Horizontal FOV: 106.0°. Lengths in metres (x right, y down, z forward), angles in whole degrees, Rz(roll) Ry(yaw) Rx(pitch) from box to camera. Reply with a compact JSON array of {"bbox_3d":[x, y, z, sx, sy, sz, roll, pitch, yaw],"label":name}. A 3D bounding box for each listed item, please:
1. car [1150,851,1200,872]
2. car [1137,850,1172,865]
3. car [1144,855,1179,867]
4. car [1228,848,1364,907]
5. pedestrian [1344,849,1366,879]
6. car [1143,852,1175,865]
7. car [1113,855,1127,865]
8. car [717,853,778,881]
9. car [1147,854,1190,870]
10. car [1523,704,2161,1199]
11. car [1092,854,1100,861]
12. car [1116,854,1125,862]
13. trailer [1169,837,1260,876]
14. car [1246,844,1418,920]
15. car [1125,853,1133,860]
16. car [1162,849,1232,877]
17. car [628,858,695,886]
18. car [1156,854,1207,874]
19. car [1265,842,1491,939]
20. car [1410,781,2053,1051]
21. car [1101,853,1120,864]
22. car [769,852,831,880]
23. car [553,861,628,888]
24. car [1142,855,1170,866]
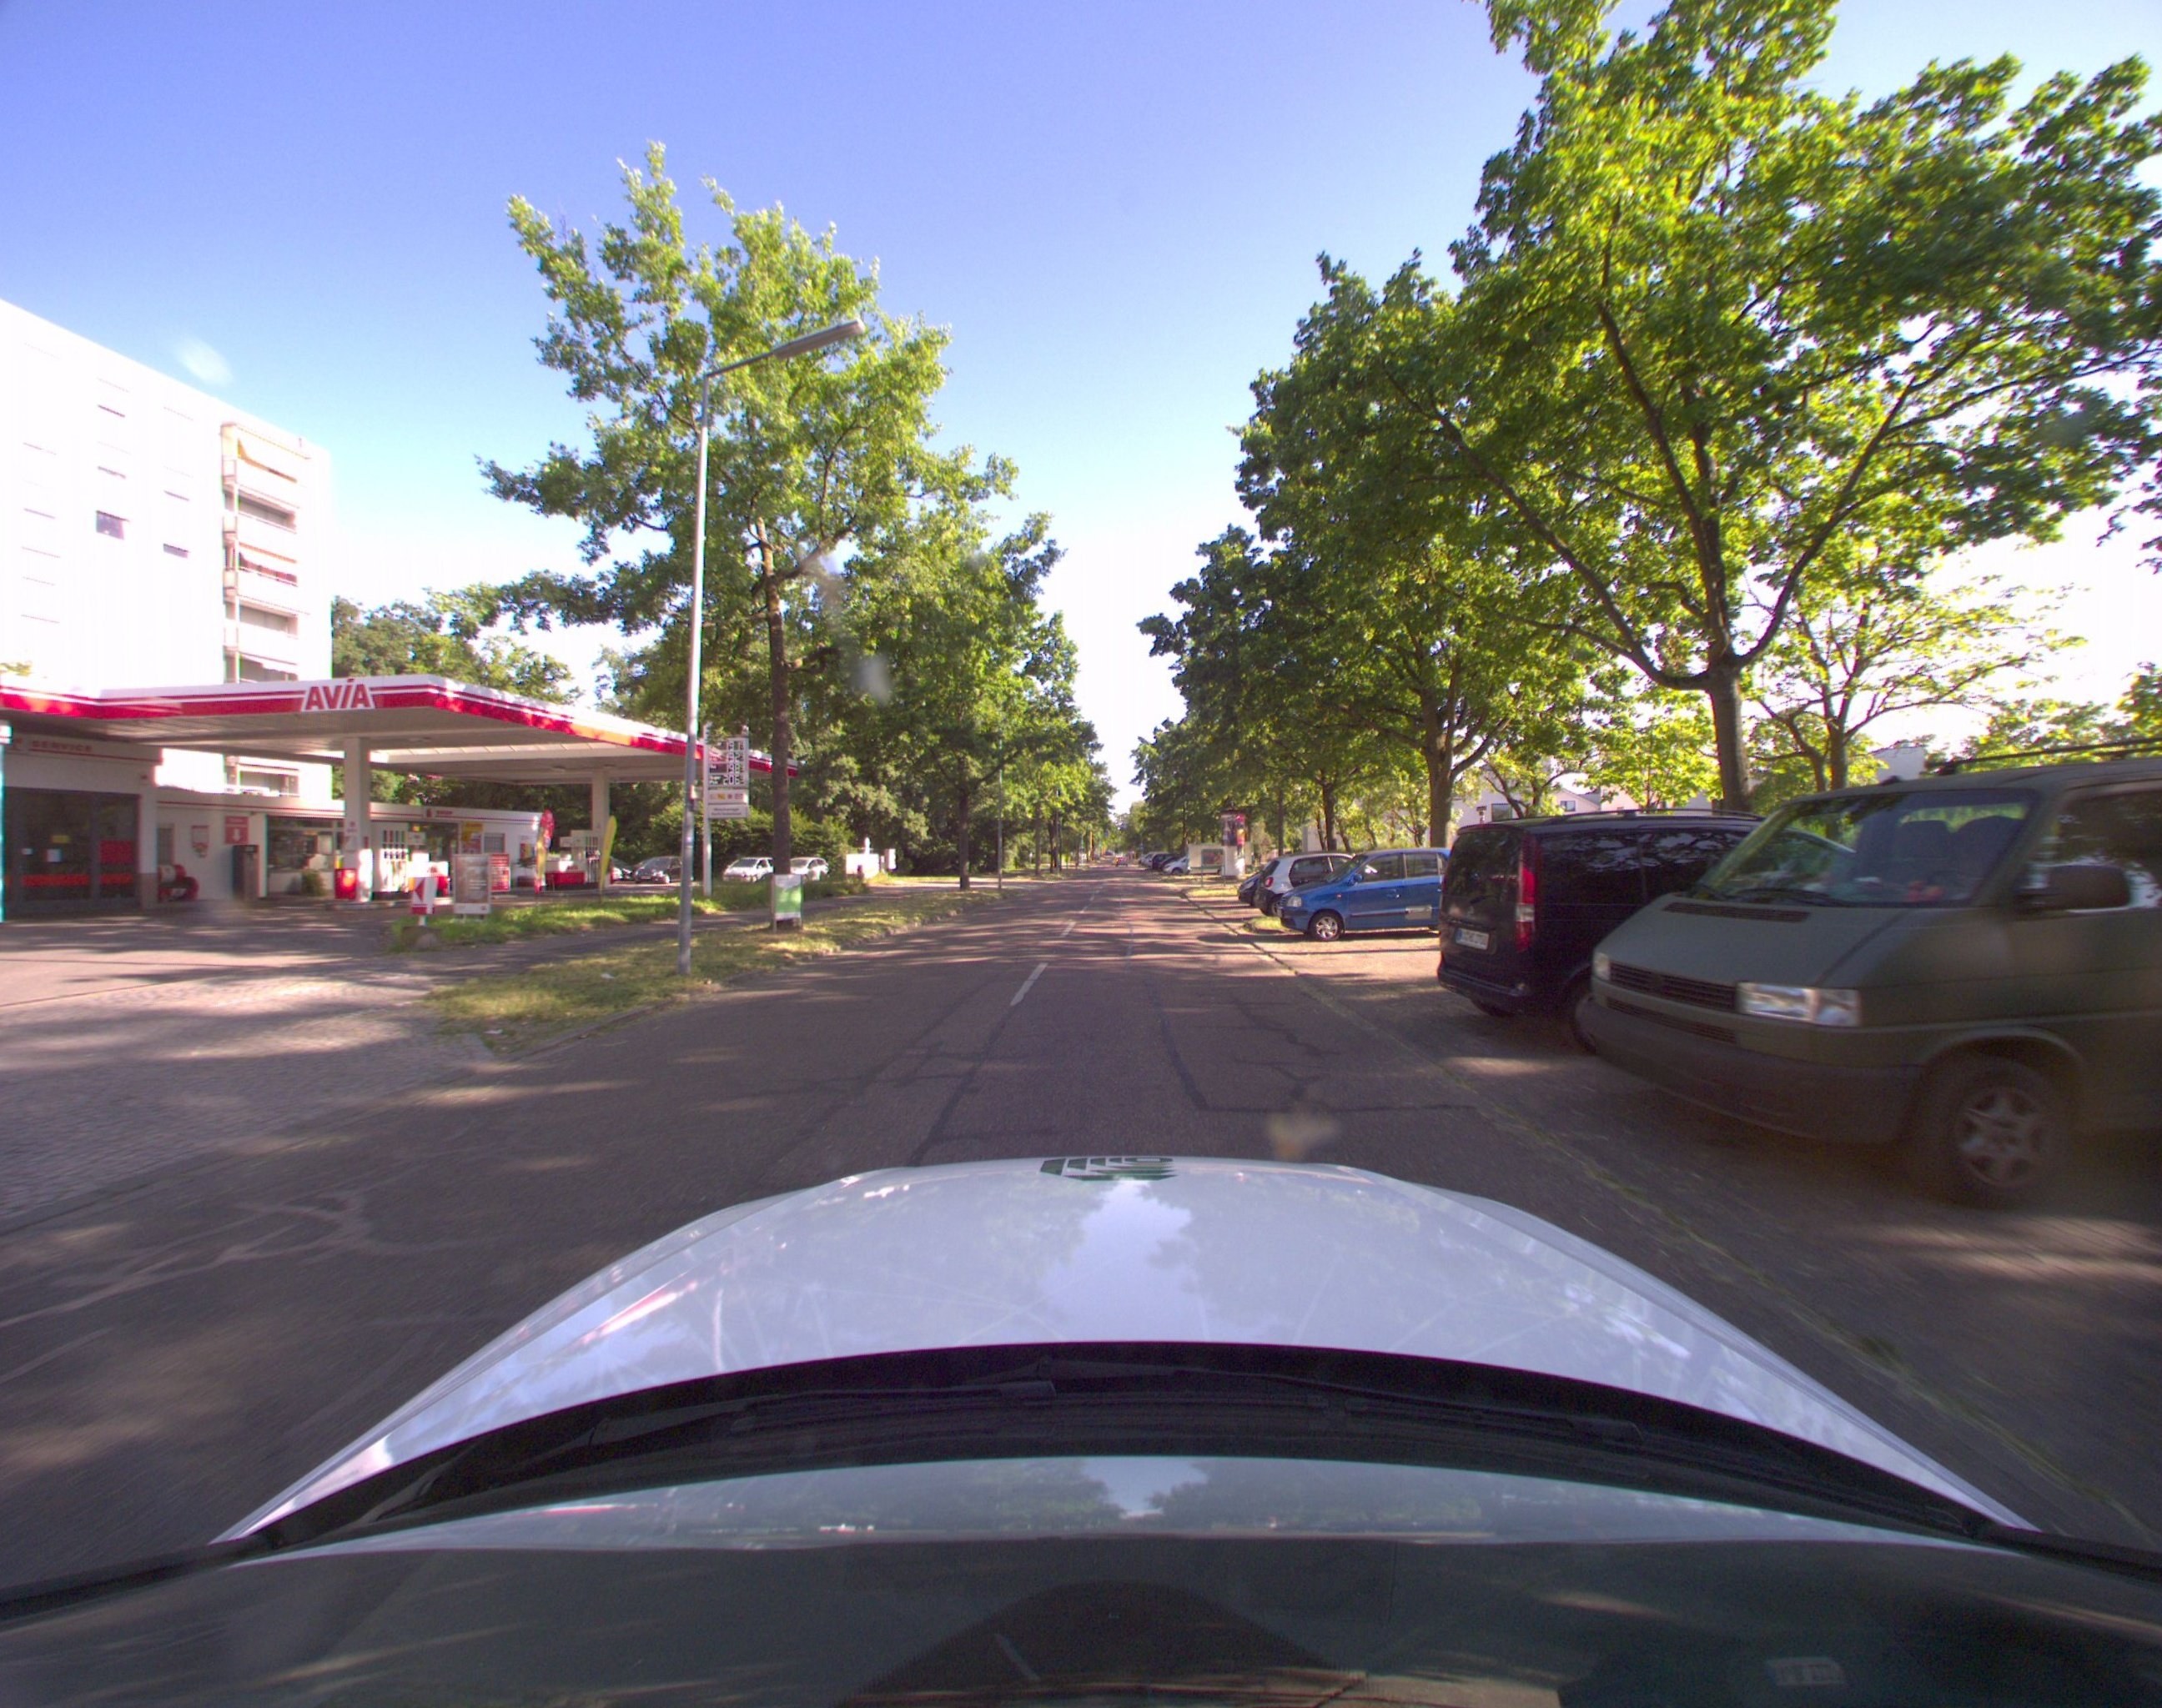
[{"bbox_3d":[8.763,0.715,76.365,4.511,1.801,1.937,-2,0,2],"label":"car"},{"bbox_3d":[11.171,0.524,123.743,5.169,2.105,2.083,-1,-1,1],"label":"car"},{"bbox_3d":[10.407,0.926,105.828,4.427,1.390,1.912,-2,0,2],"label":"car"},{"bbox_3d":[6.347,0.680,24.387,3.570,1.576,1.858,-2,-1,1],"label":"car"},{"bbox_3d":[14.308,0.529,42.466,0.874,1.500,0.949,-2,0,30],"label":"pedestrian"},{"bbox_3d":[10.840,0.656,113.429,4.369,1.651,1.851,-2,0,0],"label":"car"},{"bbox_3d":[5.794,0.874,121.055,1.986,1.484,4.001,-1,0,1],"label":"car"},{"bbox_3d":[-17.341,0.649,42.484,1.413,1.367,3.214,1,0,11],"label":"car"},{"bbox_3d":[9.720,0.854,90.671,4.651,1.580,1.918,-2,0,3],"label":"car"},{"bbox_3d":[5.306,0.369,4.351,4.785,2.032,1.945,-2,0,2],"label":"car"},{"bbox_3d":[3.758,0.880,207.005,1.986,1.716,4.002,0,0,2],"label":"car"},{"bbox_3d":[8.788,0.861,179.853,1.986,1.933,4.002,0,0,2],"label":"car"},{"bbox_3d":[8.810,0.176,53.973,5.748,2.317,1.688,-3,0,4],"label":"trailer"},{"bbox_3d":[5.871,0.645,19.401,3.567,1.576,1.788,-2,-1,4],"label":"car"},{"bbox_3d":[11.804,0.650,200.593,1.986,1.716,4.002,0,0,2],"label":"car"},{"bbox_3d":[8.054,0.621,56.834,4.622,1.722,1.989,-2,0,3],"label":"car"},{"bbox_3d":[-21.928,0.903,42.701,1.413,1.367,3.214,1,0,11],"label":"car"},{"bbox_3d":[8.534,0.853,69.559,4.227,1.519,2.080,-2,0,3],"label":"car"},{"bbox_3d":[5.262,0.638,14.807,3.505,1.532,1.667,-2,-1,4],"label":"car"},{"bbox_3d":[5.186,0.457,6.932,3.996,1.837,1.799,-2,-1,0],"label":"car"},{"bbox_3d":[4.633,0.746,130.391,1.997,1.655,3.980,0,-1,-15],"label":"car"},{"bbox_3d":[-14.712,0.604,42.848,1.536,1.422,3.497,1,0,11],"label":"car"},{"bbox_3d":[-25.923,1.047,43.061,3.175,1.317,1.463,1,0,10],"label":"car"},{"bbox_3d":[10.673,0.955,115.925,3.969,1.433,1.903,-1,0,4],"label":"car"}]
